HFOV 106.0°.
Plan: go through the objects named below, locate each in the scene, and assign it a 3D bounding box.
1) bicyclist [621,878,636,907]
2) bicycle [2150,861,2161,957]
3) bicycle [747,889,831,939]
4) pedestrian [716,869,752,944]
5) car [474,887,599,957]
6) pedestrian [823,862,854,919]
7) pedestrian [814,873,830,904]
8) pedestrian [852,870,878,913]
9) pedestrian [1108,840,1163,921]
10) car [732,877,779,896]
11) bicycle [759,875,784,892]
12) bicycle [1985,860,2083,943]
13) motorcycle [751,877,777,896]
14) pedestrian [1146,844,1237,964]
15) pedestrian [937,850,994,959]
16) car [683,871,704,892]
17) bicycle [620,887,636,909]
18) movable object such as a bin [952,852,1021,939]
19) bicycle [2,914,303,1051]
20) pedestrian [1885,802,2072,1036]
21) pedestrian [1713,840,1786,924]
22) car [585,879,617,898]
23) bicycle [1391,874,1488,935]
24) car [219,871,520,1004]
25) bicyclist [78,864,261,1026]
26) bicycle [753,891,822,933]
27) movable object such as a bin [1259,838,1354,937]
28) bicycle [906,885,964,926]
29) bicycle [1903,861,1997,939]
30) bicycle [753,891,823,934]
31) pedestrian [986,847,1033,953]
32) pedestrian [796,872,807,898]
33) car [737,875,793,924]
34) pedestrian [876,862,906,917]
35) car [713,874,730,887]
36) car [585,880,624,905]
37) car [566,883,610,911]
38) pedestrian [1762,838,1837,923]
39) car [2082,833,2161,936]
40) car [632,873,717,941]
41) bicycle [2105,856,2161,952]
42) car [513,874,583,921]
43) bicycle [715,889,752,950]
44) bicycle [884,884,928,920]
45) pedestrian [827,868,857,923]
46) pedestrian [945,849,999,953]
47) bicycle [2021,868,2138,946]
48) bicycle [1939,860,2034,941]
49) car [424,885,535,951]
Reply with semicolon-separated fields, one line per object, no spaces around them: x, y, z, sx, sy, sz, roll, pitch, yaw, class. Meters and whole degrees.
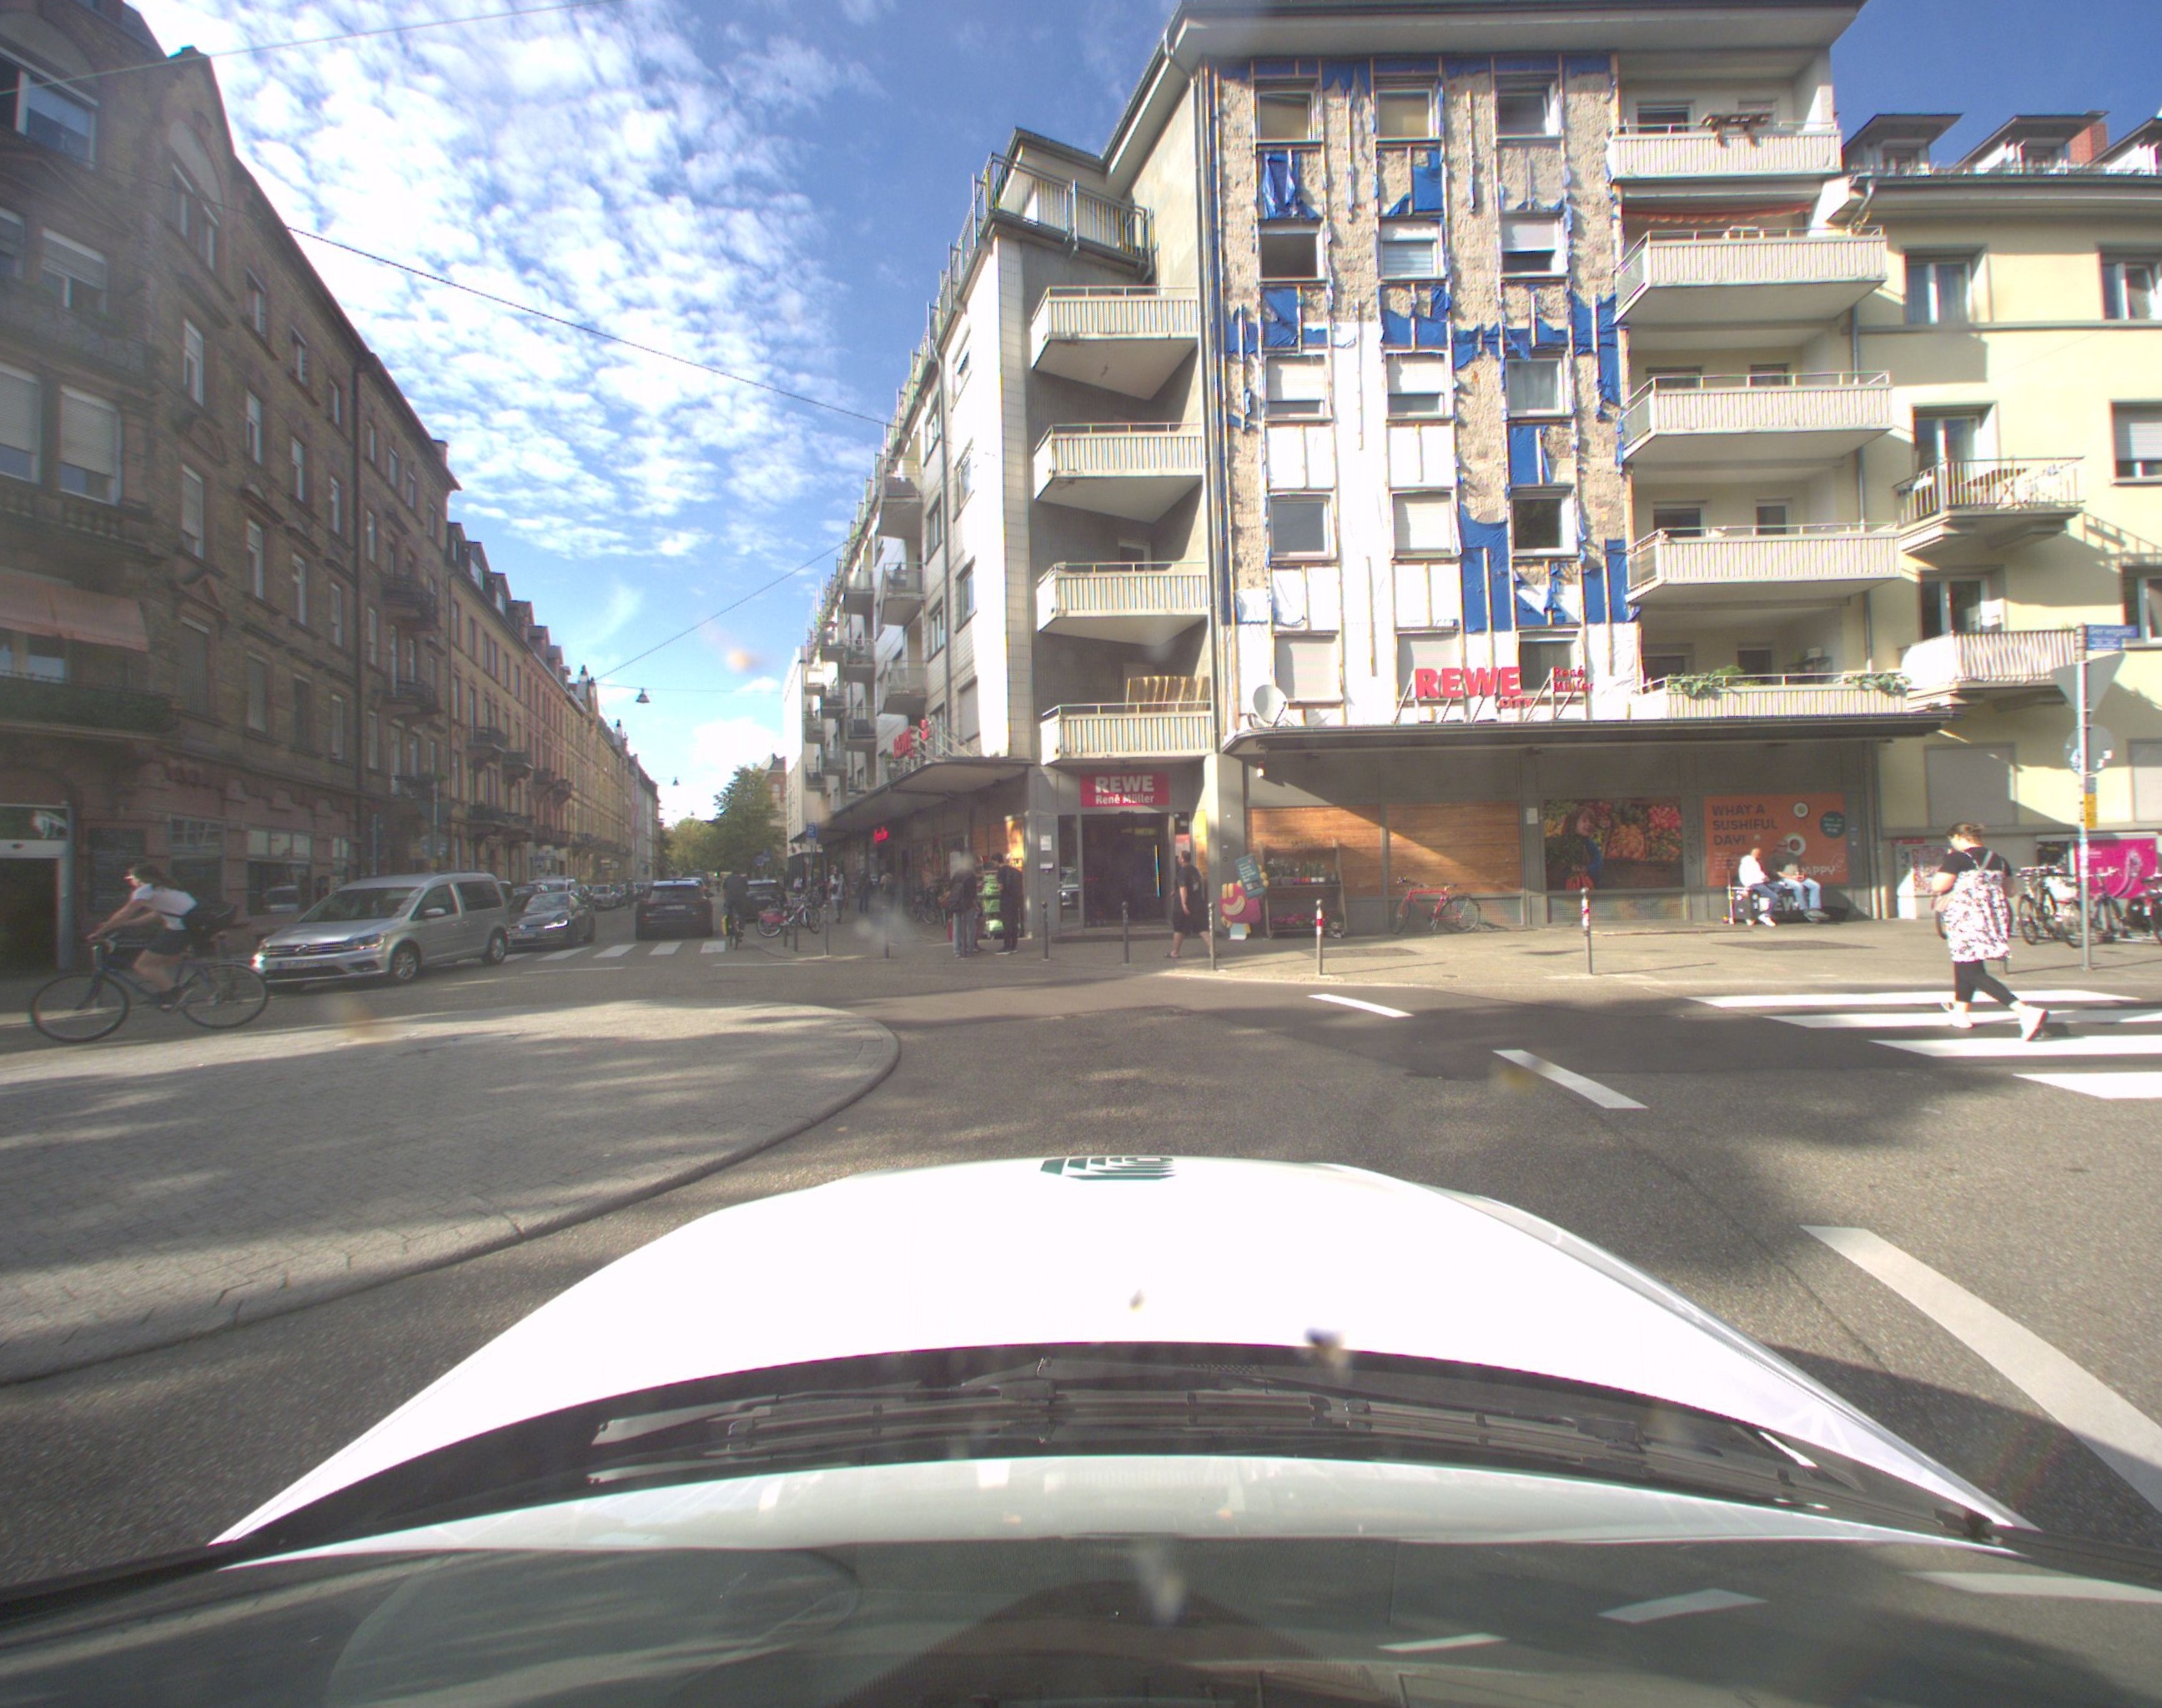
-26.661;2.248;47.988;0.704;1.678;1.103;1;-2;-26;bicyclist
14.283;0.665;10.361;1.856;1.176;0.410;-1;0;-25;bicycle
-7.823;1.581;21.847;1.896;1.125;0.898;-4;0;-34;bicycle
-7.936;1.173;18.623;0.721;1.650;0.923;-1;-1;-23;pedestrian
-13.303;1.593;20.160;1.799;1.438;3.969;-2;-2;-23;car
-8.243;1.237;27.730;0.886;1.834;1.041;-3;-1;-17;pedestrian
-13.913;1.833;43.750;0.646;1.588;0.775;-3;-1;-22;pedestrian
-8.260;1.413;31.149;0.827;1.589;0.775;-1;-1;-23;pedestrian
1.223;0.578;18.238;0.770;1.753;0.919;-1;-1;-42;pedestrian
-30.616;3.068;76.591;3.788;1.546;1.712;-3;-1;-35;car
-24.183;2.307;63.716;1.773;1.162;0.645;-3;0;-22;bicycle
13.879;0.667;11.852;1.700;1.086;0.418;-3;0;-23;bicycle
-29.136;2.982;74.855;2.158;1.530;0.681;-3;0;-20;motorcycle
1.725;0.757;12.817;0.855;1.746;1.038;-4;0;-33;pedestrian
-2.002;0.863;14.184;0.625;1.797;0.718;-4;1;17;pedestrian
-37.840;2.657;79.648;1.791;2.020;3.855;0;-2;-25;car
-26.600;2.575;47.856;0.704;1.220;2.098;1;-2;-26;bicycle
-2.099;0.866;17.743;0.783;1.744;2.403;-1;-1;-24;movable object such as a bin
-9.769;1.302;8.698;1.983;1.199;0.686;-2;-3;-29;bicycle
7.274;0.489;6.626;0.615;1.753;0.835;-1;-1;-25;pedestrian
12.410;0.515;15.130;0.750;1.506;0.667;-1;-1;-5;pedestrian
-36.745;2.617;62.413;1.698;1.387;3.835;1;-3;-25;car
6.538;0.920;14.912;1.521;1.033;0.585;-2;0;10;bicycle
-11.743;1.236;13.934;1.829;1.791;4.315;-3;0;-10;car
-9.725;0.934;8.751;1.131;1.587;0.686;-2;-3;-29;bicyclist
-8.806;1.717;24.455;1.801;1.070;0.580;-3;0;-34;bicycle
4.158;0.599;15.088;1.540;1.754;0.690;-2;1;-2;movable object such as a bin
-3.959;1.388;22.042;0.682;1.043;1.712;-1;-2;-44;bicycle
13.523;0.688;12.664;1.700;1.086;0.418;-3;0;-23;bicycle
-8.556;1.689;23.792;1.801;1.070;0.563;-3;0;-34;bicycle
-1.281;0.793;14.493;0.653;1.797;0.656;-4;1;-12;pedestrian
-19.051;2.109;55.478;0.614;1.726;1.118;-2;0;-23;pedestrian
-12.297;1.697;31.527;1.801;1.605;3.893;-4;0;-23;car
-6.320;1.164;27.052;0.717;1.746;0.810;-4;0;-26;pedestrian
-46.562;3.445;105.447;1.939;1.638;3.968;0;-2;-24;car
-30.318;2.398;51.886;1.750;1.484;3.950;0;-2;-25;car
-28.542;2.461;47.255;1.750;1.484;3.950;0;-2;-25;car
13.279;0.487;15.077;0.664;1.506;0.753;-2;-1;-3;pedestrian
17.060;0.439;11.139;1.814;1.455;3.966;-3;2;-26;car
-11.582;1.479;23.468;1.974;1.741;4.008;0;-3;-24;car
14.352;0.638;10.863;1.856;1.176;0.410;-1;0;-25;bicycle
-23.292;1.851;35.727;1.929;1.872;4.400;0;-1;-25;car
-7.909;1.455;18.558;0.721;1.274;1.869;-1;-1;-23;bicycle
-5.416;1.477;25.157;0.746;1.015;1.765;-4;0;-32;bicycle
-7.577;1.312;25.824;0.804;1.671;1.015;-2;-2;-20;pedestrian
-1.979;0.842;14.832;0.708;1.797;0.634;-4;1;9;pedestrian
14.001;0.730;11.421;1.499;1.019;0.411;-1;0;-13;bicycle
13.725;0.679;12.336;1.700;1.086;0.418;-3;0;-23;bicycle
-17.740;1.810;24.248;1.768;1.774;4.368;1;-2;-25;car
